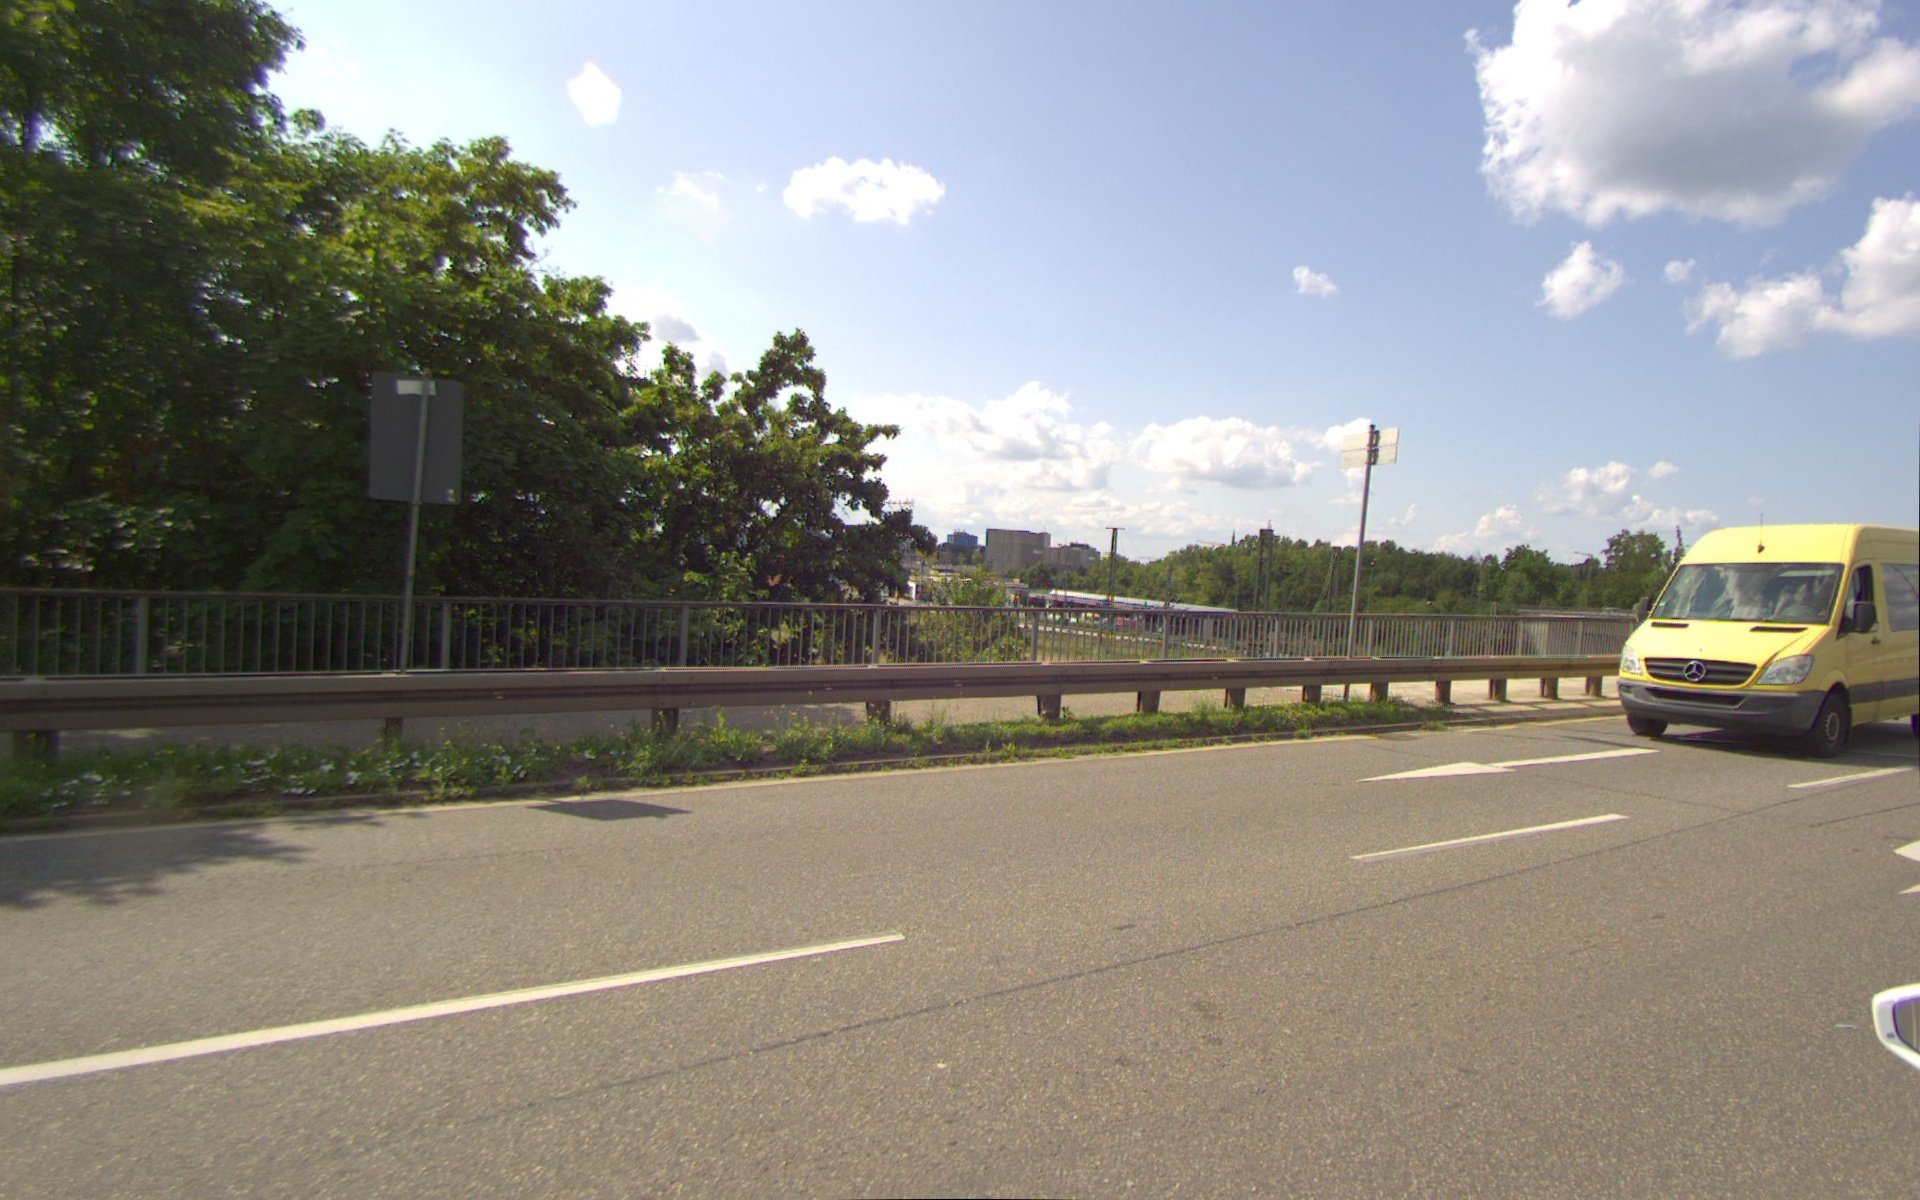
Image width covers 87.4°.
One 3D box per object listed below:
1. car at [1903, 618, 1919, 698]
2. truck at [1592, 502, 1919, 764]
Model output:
[{"bbox_3d":[19.806,1.143,19.207,4.294,1.468,1.736,2,1,-35],"label":"car"},{"bbox_3d":[10.542,0.380,12.686,6.037,2.656,1.982,1,0,-33],"label":"truck"}]
